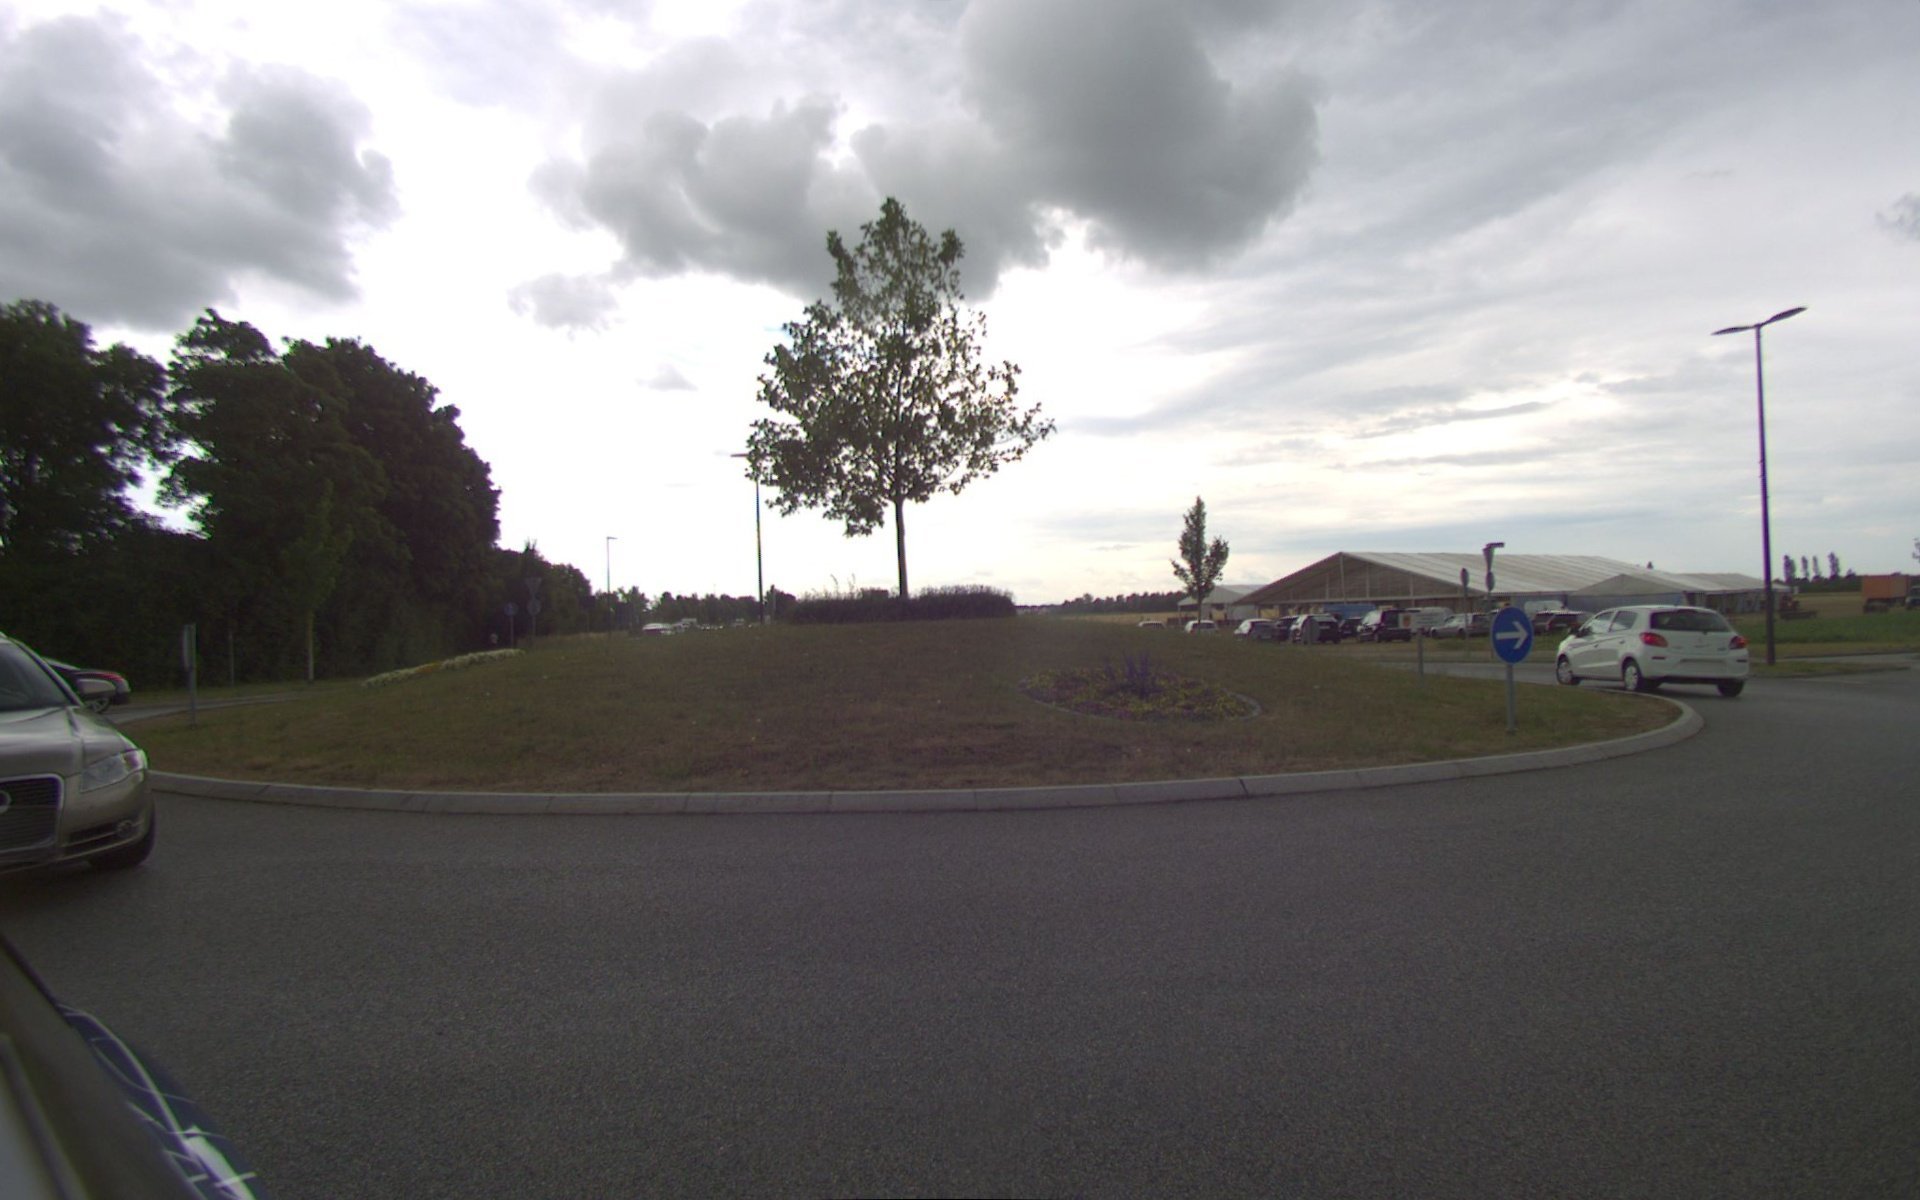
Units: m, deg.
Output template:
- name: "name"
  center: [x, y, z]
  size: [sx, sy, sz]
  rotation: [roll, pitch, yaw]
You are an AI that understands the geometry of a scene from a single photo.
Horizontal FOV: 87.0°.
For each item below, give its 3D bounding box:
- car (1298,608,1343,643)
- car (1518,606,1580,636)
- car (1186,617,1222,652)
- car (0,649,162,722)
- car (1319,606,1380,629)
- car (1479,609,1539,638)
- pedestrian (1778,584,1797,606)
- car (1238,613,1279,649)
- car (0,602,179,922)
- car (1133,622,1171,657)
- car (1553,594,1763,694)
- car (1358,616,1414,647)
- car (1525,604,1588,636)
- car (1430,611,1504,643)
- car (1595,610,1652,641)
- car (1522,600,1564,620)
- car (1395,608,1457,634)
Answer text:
- name: "car"
  center: [18.894, 1.325, 53.204]
  size: [1.699, 1.564, 3.983]
  rotation: [-4, 0, 13]
- name: "car"
  center: [34.557, 1.202, 59.401]
  size: [3.768, 1.619, 1.839]
  rotation: [-1, -1, -38]
- name: "car"
  center: [12.881, 1.798, 53.554]
  size: [1.699, 1.564, 3.983]
  rotation: [-4, 0, 13]
- name: "car"
  center: [-18.935, 1.737, 20.449]
  size: [1.825, 1.317, 4.068]
  rotation: [-4, -3, 33]
- name: "car"
  center: [27.490, 1.213, 71.347]
  size: [3.932, 1.453, 1.957]
  rotation: [-2, -1, -31]
- name: "car"
  center: [33.309, 1.419, 61.401]
  size: [3.768, 1.619, 1.839]
  rotation: [-1, -1, -38]
- name: "pedestrian"
  center: [77.904, -0.476, 95.293]
  size: [1.043, 2.029, 1.054]
  rotation: [-2, -1, -34]
- name: "car"
  center: [15.631, 1.582, 53.157]
  size: [1.699, 1.564, 3.983]
  rotation: [-4, 0, 13]
- name: "car"
  center: [-6.364, 0.841, 5.934]
  size: [4.534, 1.476, 1.761]
  rotation: [-3, -1, 38]
- name: "car"
  center: [10.265, 2.083, 54.014]
  size: [1.699, 1.564, 3.983]
  rotation: [-4, 0, 13]
- name: "car"
  center: [11.863, 0.754, 17.483]
  size: [1.614, 1.530, 3.389]
  rotation: [-1, -2, 9]
- name: "car"
  center: [21.877, 1.601, 52.077]
  size: [1.932, 1.453, 3.983]
  rotation: [-2, -1, 13]
- name: "car"
  center: [31.541, 1.045, 53.633]
  size: [1.618, 1.619, 3.863]
  rotation: [-2, -1, 11]
- name: "car"
  center: [27.346, 1.468, 54.756]
  size: [1.708, 1.619, 3.881]
  rotation: [-2, -1, -5]
- name: "car"
  center: [37.178, 1.417, 56.652]
  size: [3.939, 1.565, 1.733]
  rotation: [-1, -2, -43]
- name: "car"
  center: [50.933, 0.850, 88.325]
  size: [3.768, 1.619, 1.839]
  rotation: [-1, -1, -38]
- name: "car"
  center: [29.571, 1.307, 64.191]
  size: [3.936, 1.453, 1.955]
  rotation: [-1, -2, -39]
